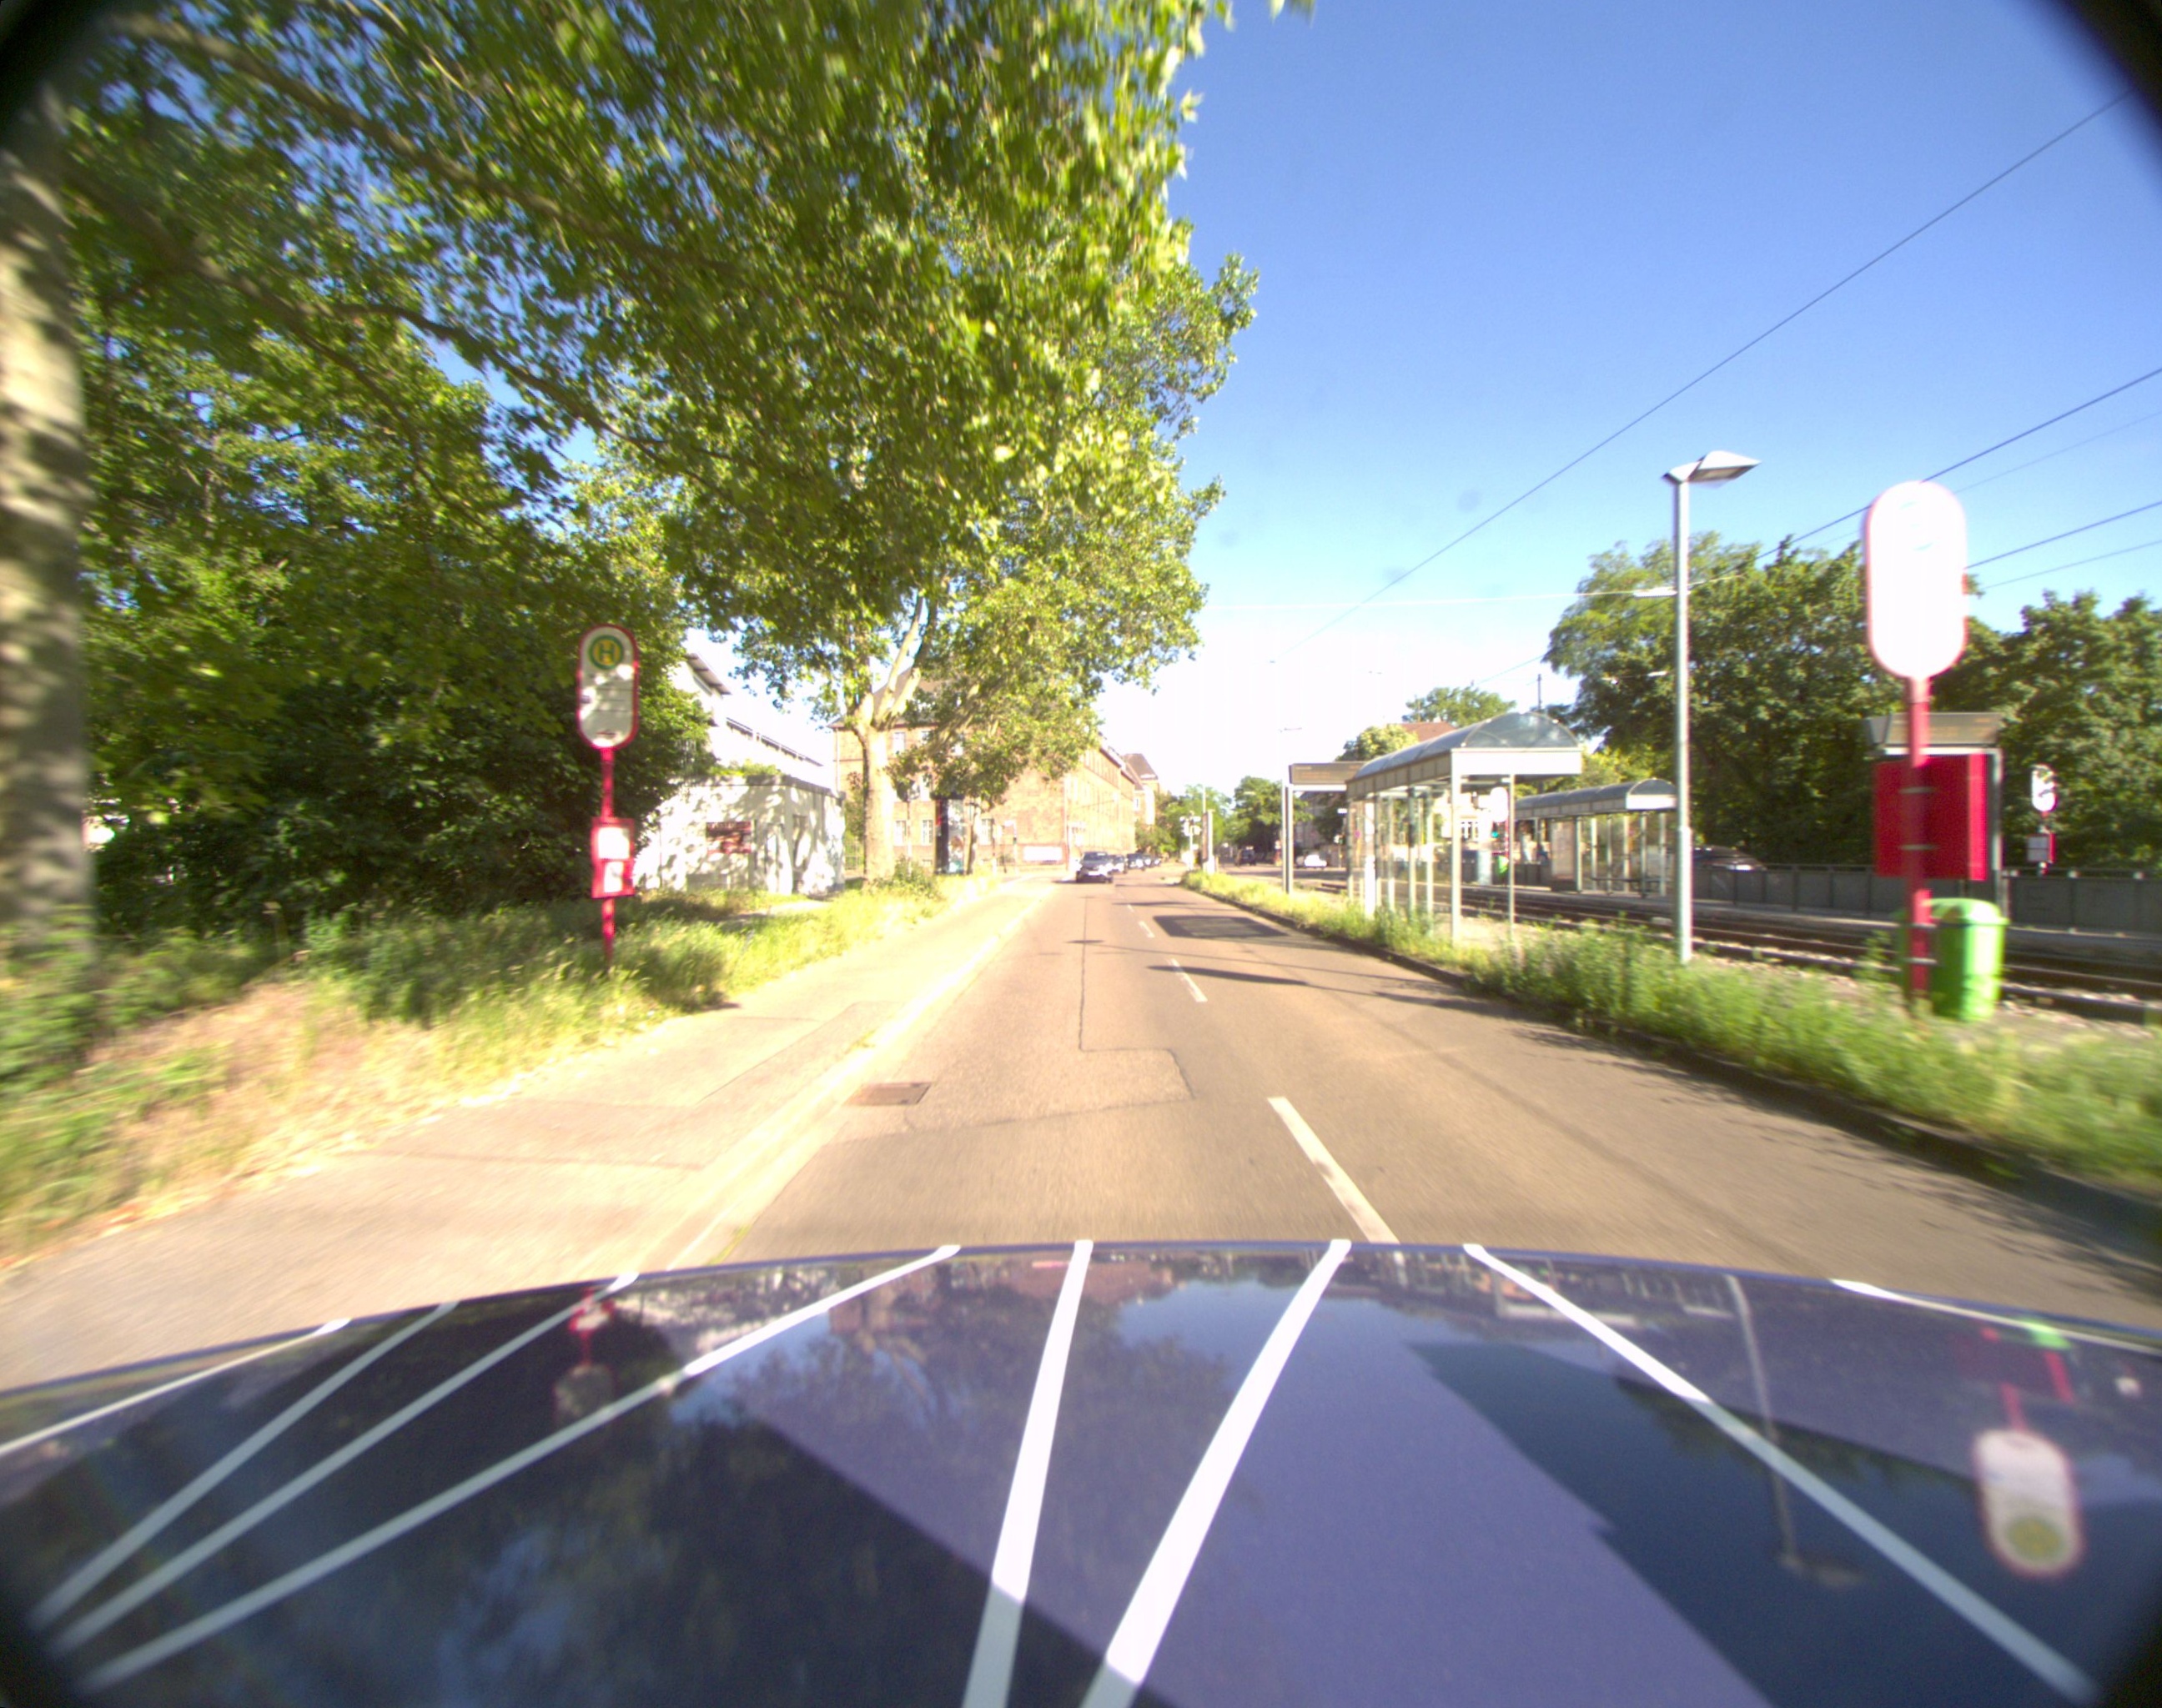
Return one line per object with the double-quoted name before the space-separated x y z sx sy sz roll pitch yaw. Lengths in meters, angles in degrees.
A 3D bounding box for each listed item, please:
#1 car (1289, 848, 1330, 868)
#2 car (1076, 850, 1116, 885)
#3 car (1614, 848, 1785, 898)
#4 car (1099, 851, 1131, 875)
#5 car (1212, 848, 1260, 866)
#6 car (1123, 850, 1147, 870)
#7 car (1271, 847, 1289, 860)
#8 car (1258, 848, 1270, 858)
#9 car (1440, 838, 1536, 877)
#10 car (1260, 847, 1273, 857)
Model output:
"car" 18.661 0.337 62.179 1.926 1.558 3.998 -1 0 -4
"car" 0.761 0.627 37.542 1.795 1.595 3.799 -2 0 2
"car" 20.015 0.559 24.885 1.999 1.461 4.375 -1 1 0
"car" 2.471 0.593 53.770 1.794 1.595 3.801 -2 0 9
"car" 16.729 0.389 82.060 2.004 1.756 5.019 1 -3 -37
"car" 4.828 0.484 67.454 1.794 1.638 4.086 -2 0 9
"car" 25.331 -0.039 96.804 1.815 1.696 3.377 0 0 7
"car" 33.078 -0.226 137.600 1.814 1.814 3.798 -1 0 9
"car" 16.669 0.123 31.339 1.809 1.458 3.999 -1 1 0
"car" 30.750 -0.339 125.835 1.814 1.589 3.633 -1 0 9
